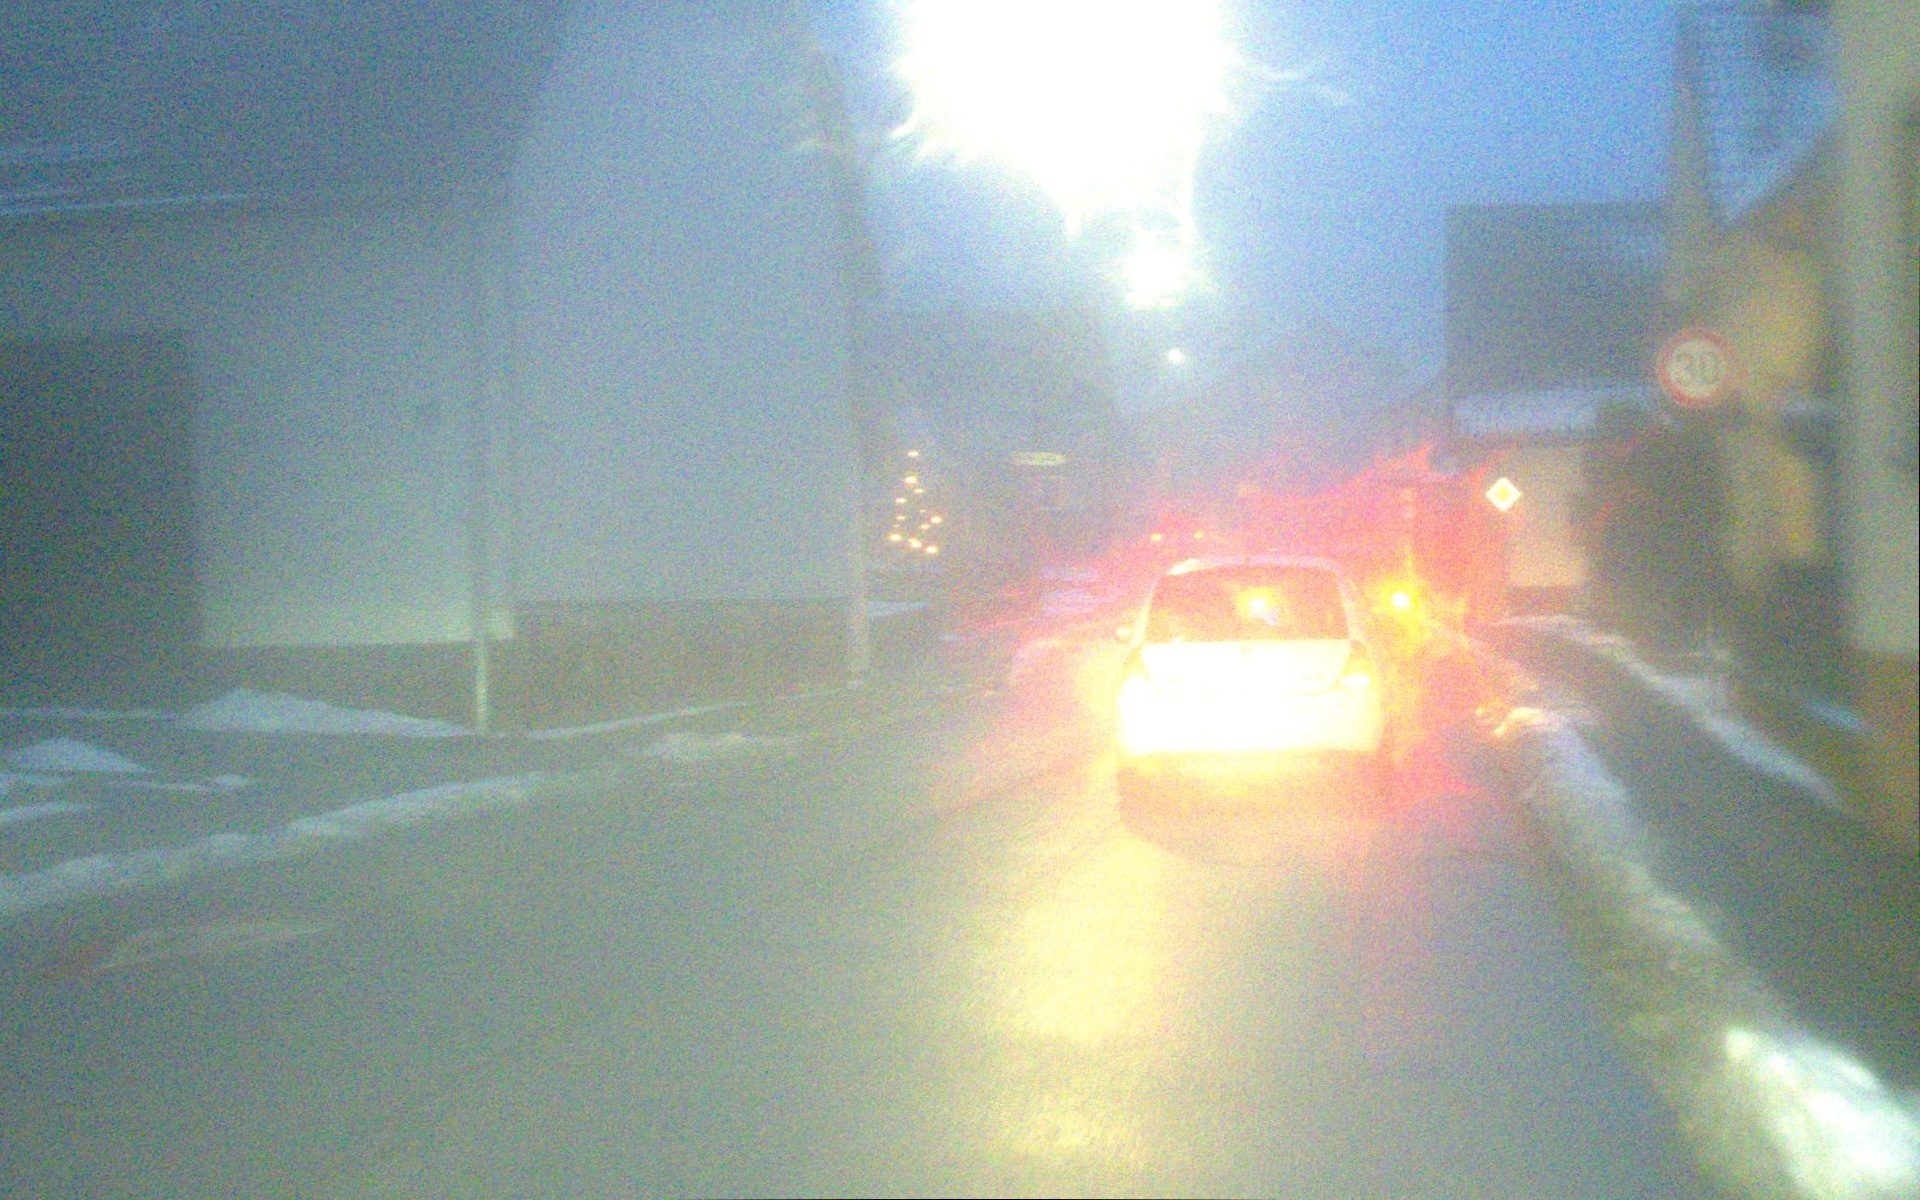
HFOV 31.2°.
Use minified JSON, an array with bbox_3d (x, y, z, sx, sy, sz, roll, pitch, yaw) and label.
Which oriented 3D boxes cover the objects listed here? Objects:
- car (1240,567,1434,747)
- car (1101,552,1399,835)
[{"bbox_3d":[3.602,0.505,32.414,1.646,1.590,3.698,0,0,9],"label":"car"},{"bbox_3d":[1.866,0.526,21.262,1.646,1.590,3.698,0,0,8],"label":"car"}]
